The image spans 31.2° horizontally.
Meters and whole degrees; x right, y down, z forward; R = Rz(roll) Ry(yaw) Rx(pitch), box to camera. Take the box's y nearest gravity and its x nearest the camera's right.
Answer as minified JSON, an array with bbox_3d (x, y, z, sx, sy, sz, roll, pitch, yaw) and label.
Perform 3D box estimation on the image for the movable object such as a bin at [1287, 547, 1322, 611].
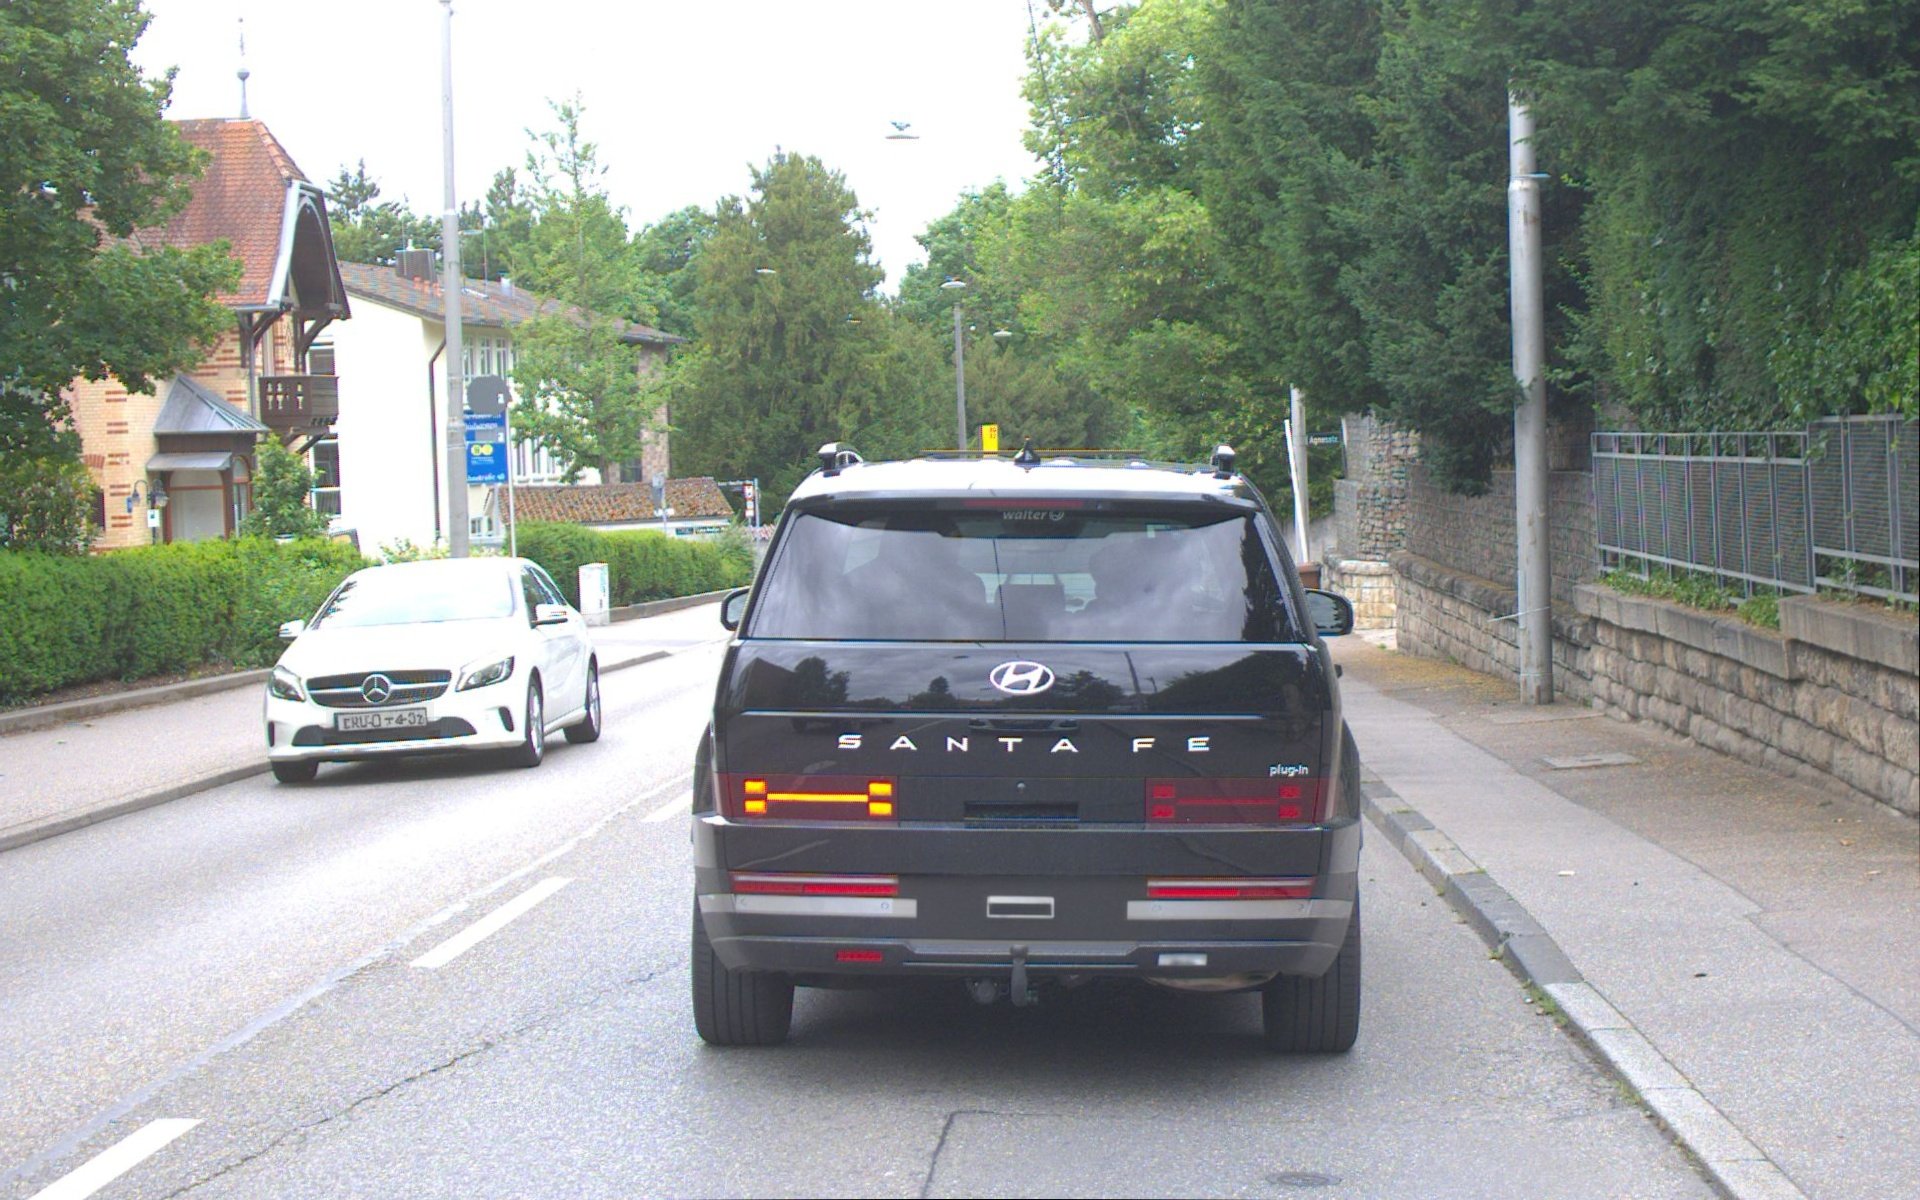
[{"bbox_3d":[4.933,-0.299,49.255,0.445,0.907,0.394,-1,0,12],"label":"movable object such as a bin"}]

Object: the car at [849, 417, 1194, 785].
[{"bbox_3d":[0.379,-0.102,22.388,1.957,1.948,4.225,2,5,0],"label":"car"}]

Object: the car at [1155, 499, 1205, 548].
[{"bbox_3d":[7.918,-2.734,123.335,1.645,1.555,3.649,-1,-1,6],"label":"car"}]

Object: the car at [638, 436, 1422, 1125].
[{"bbox_3d":[0.265,0.398,10.825,1.957,1.707,4.223,1,2,3],"label":"car"}]

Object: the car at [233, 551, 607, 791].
[{"bbox_3d":[-3.667,0.425,24.043,1.766,1.417,4.065,-3,1,2],"label":"car"}]
